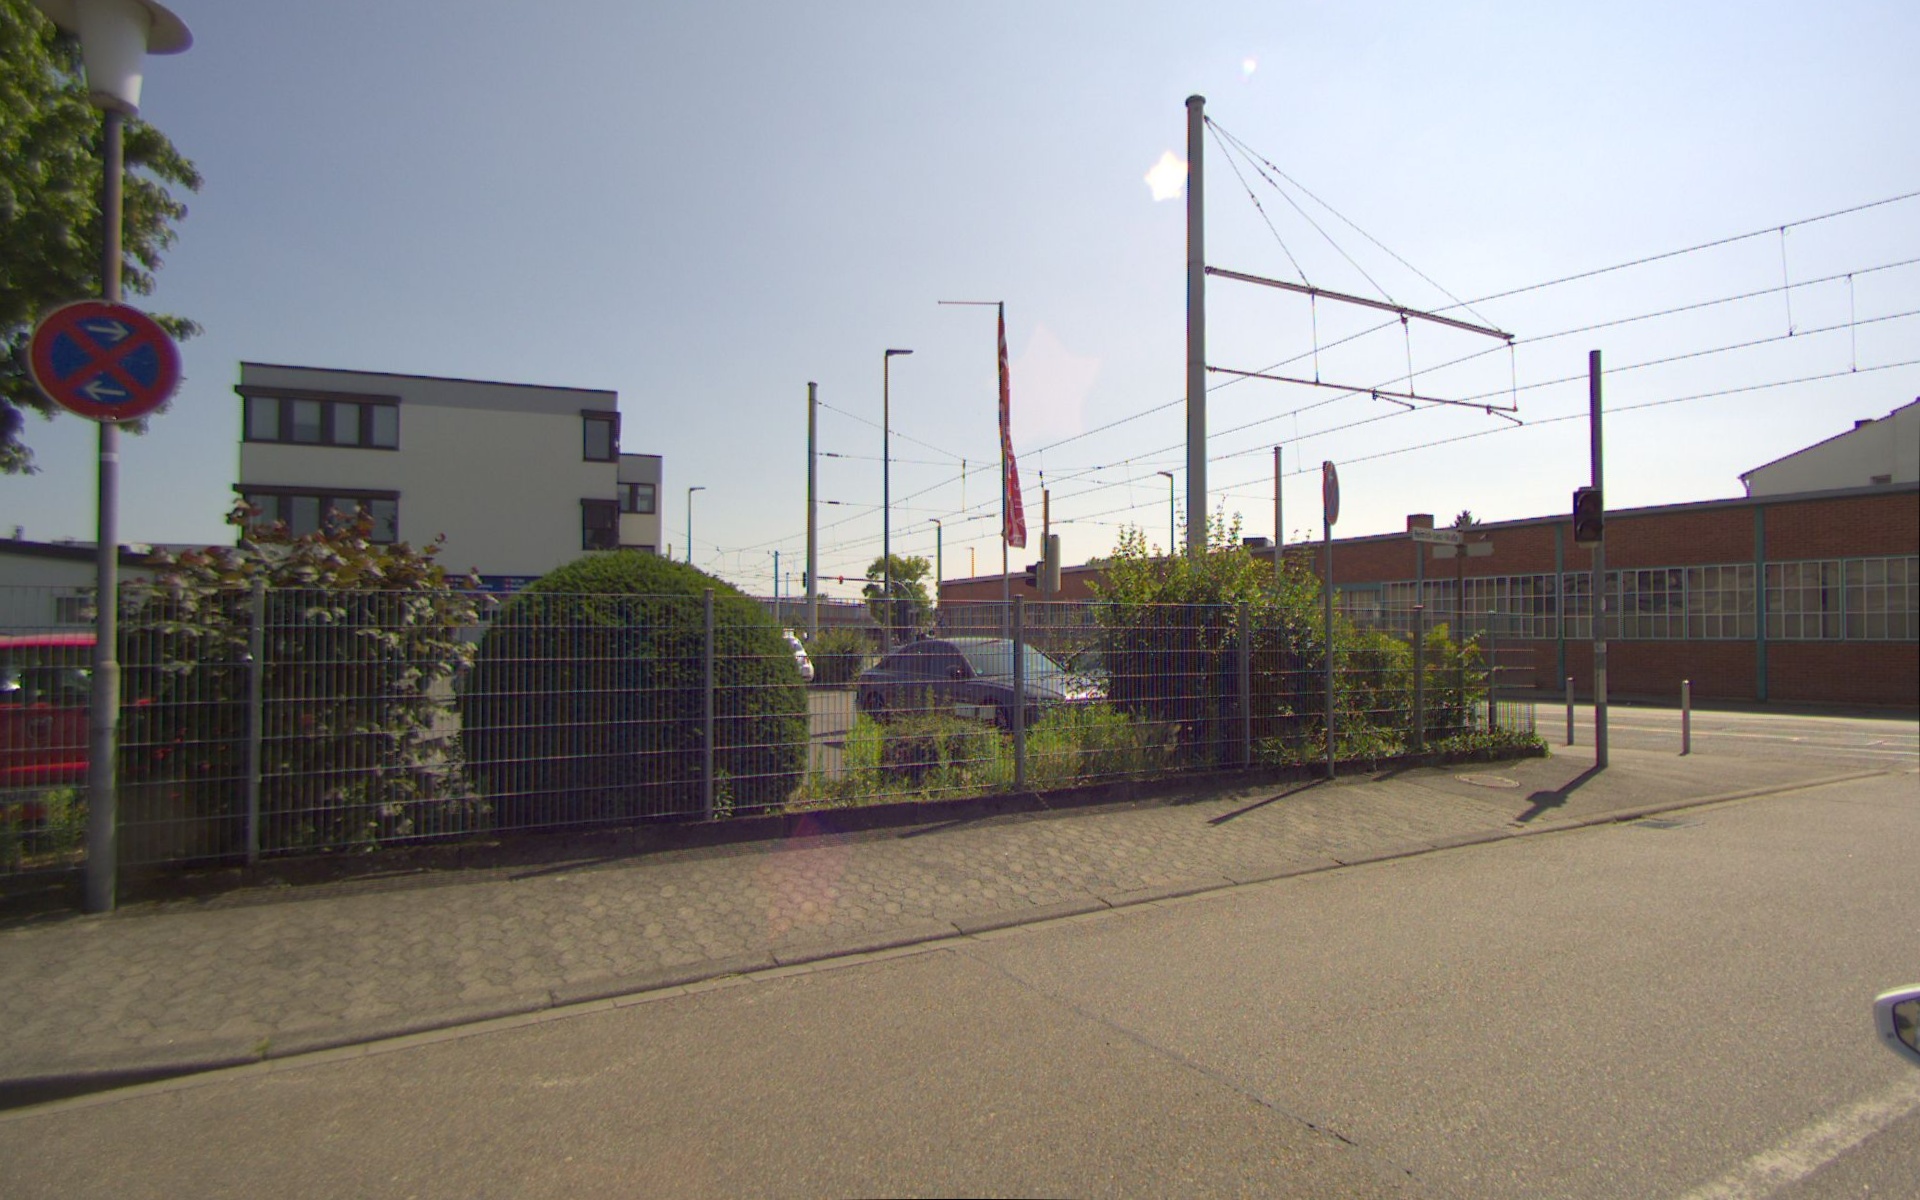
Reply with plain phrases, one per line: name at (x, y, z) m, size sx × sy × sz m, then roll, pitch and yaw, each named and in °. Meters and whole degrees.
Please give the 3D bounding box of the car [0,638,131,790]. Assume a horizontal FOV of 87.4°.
car at (-11.454, 1.240, 11.884) m, size 1.954 × 1.568 × 3.966 m, roll 1°, pitch -2°, yaw -32°

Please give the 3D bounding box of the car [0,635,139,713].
car at (-20.325, 1.576, 22.249) m, size 1.962 × 1.578 × 4.405 m, roll 1°, pitch -2°, yaw -20°

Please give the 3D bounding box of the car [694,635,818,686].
car at (-7.214, 2.091, 35.460) m, size 3.946 × 1.728 × 1.988 m, roll 1°, pitch -2°, yaw -25°

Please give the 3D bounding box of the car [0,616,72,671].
car at (-28.660, 1.267, 30.183) m, size 1.683 × 1.441 × 3.566 m, roll 2°, pitch 0°, yaw -19°

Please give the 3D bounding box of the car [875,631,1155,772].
car at (0.547, 1.188, 13.092) m, size 1.785 × 1.532 × 3.875 m, roll 1°, pitch -2°, yaw -31°

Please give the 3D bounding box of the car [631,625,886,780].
car at (-2.600, 1.118, 12.283) m, size 1.836 × 1.562 × 3.803 m, roll 1°, pitch -2°, yaw -32°

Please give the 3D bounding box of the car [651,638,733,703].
car at (-7.135, 1.788, 26.494) m, size 1.828 × 1.588 × 3.919 m, roll 1°, pitch -2°, yaw -19°

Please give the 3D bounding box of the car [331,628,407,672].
car at (-20.067, 1.682, 34.215) m, size 1.398 × 1.445 × 3.123 m, roll 0°, pitch -2°, yaw -15°

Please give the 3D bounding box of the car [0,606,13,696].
car at (-22.113, 1.090, 20.751) m, size 2.027 × 2.040 × 4.559 m, roll 1°, pitch -2°, yaw -20°

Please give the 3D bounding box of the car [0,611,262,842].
car at (-6.879, 0.946, 8.151) m, size 1.498 × 1.504 × 3.367 m, roll 2°, pitch -5°, yaw -27°

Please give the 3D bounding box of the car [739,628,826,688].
car at (-5.075, 1.601, 28.383) m, size 1.715 × 1.562 × 3.818 m, roll 1°, pitch -2°, yaw -21°

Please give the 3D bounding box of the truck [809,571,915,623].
truck at (-7.389, -0.209, 76.394) m, size 7.818 × 3.831 × 2.480 m, roll 0°, pitch -2°, yaw 0°

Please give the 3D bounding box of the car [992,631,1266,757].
car at (2.246, 1.221, 14.347) m, size 1.785 × 1.532 × 3.875 m, roll 1°, pitch -2°, yaw -31°
